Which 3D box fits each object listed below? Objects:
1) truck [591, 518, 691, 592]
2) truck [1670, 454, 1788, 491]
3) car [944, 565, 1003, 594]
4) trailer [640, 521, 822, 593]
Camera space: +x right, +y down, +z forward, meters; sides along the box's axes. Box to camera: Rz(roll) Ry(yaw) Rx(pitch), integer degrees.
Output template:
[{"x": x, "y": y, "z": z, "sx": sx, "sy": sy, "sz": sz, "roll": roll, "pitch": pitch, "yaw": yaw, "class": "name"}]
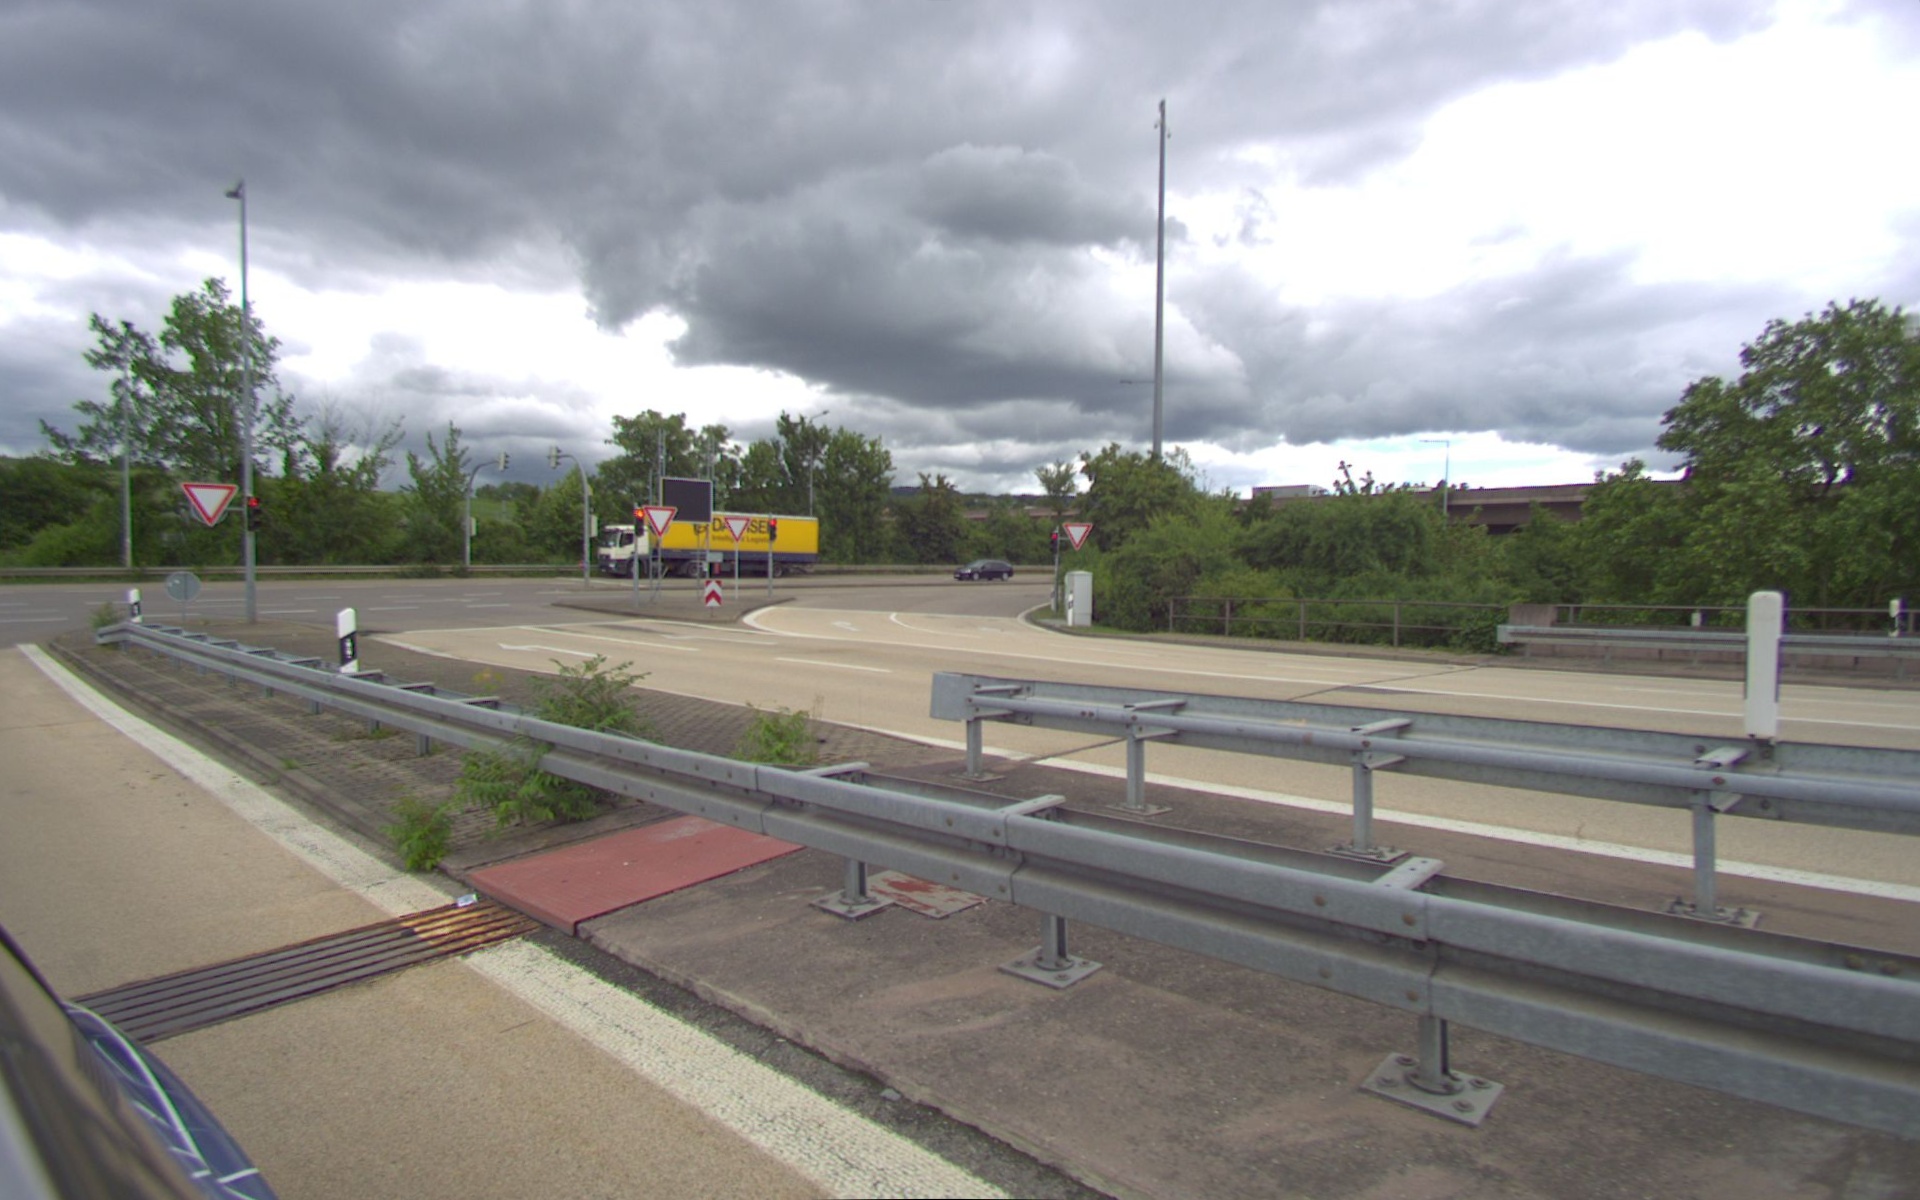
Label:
[{"x": -18.957, "y": -2.634, "z": 60.257, "sx": 5.023, "sy": 4.235, "sz": 2.639, "roll": -1, "pitch": 2, "yaw": -41, "class": "truck"}, {"x": 88.826, "y": -14.662, "z": 117.194, "sx": 2.246, "sy": 3.266, "sz": 10.916, "roll": 0, "pitch": 2, "yaw": -26, "class": "truck"}, {"x": 0.930, "y": -1.408, "z": 68.144, "sx": 4.064, "sy": 1.673, "sz": 1.630, "roll": -5, "pitch": 7, "yaw": -43, "class": "car"}, {"x": -14.305, "y": -2.654, "z": 64.382, "sx": 11.476, "sy": 4.235, "sz": 2.639, "roll": -1, "pitch": 2, "yaw": -42, "class": "trailer"}]
